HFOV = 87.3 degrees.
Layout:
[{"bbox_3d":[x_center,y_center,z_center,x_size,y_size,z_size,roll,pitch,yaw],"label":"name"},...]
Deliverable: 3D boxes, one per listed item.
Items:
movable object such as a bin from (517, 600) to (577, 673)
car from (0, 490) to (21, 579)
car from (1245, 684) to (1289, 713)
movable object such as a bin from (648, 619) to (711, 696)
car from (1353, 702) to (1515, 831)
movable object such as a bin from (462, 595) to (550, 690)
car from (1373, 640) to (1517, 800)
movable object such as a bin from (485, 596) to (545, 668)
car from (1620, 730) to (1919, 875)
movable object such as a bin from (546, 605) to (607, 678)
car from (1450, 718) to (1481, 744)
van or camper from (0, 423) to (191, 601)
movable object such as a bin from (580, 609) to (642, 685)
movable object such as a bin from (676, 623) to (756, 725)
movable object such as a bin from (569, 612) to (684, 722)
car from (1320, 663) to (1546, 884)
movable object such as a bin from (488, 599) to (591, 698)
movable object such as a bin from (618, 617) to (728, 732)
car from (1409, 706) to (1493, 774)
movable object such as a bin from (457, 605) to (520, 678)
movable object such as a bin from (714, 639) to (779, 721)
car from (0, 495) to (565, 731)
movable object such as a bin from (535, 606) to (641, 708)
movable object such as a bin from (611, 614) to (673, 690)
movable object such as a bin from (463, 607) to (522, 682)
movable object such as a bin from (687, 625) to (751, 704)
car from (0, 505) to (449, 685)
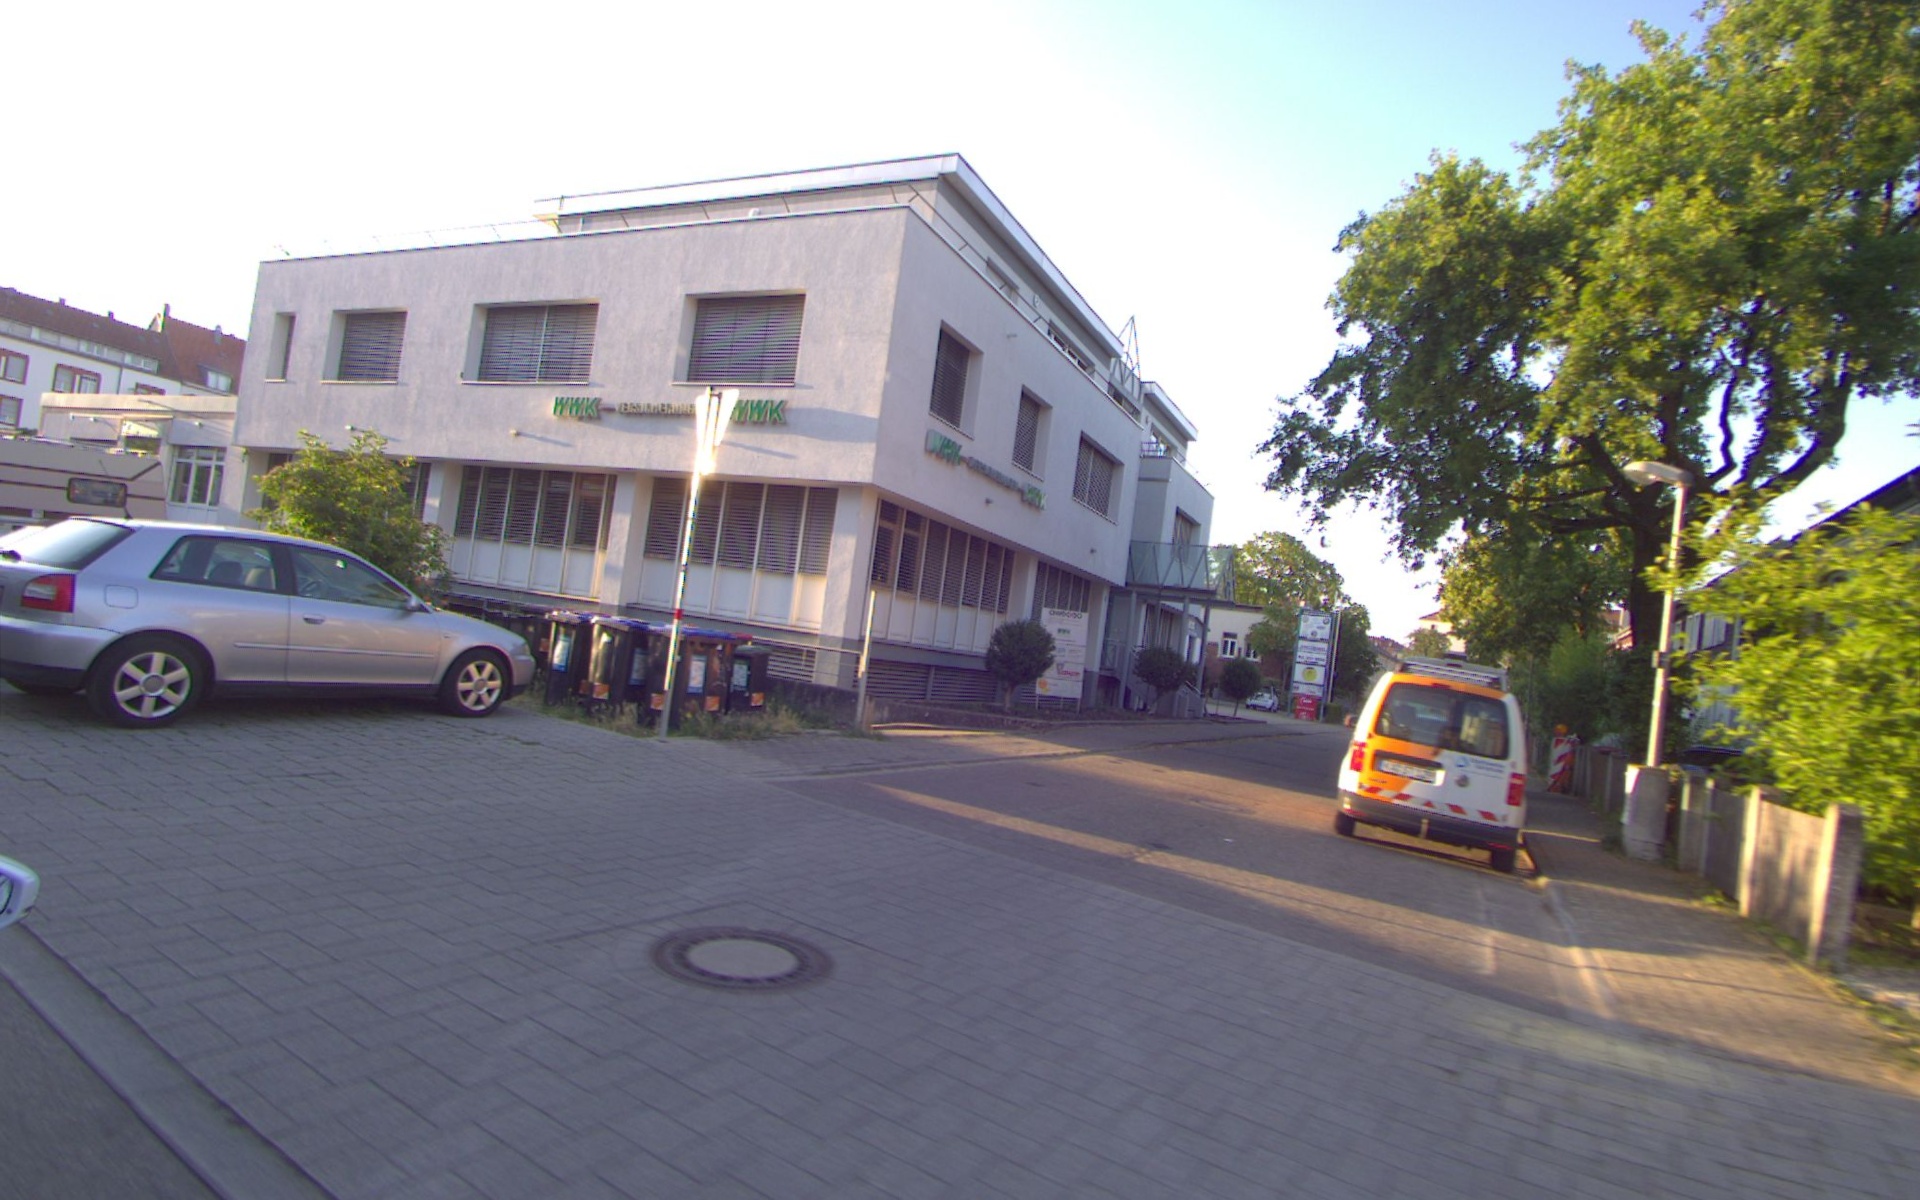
[{"bbox_3d":[-5.805,0.520,14.139,0.517,0.943,0.468,6,-1,29],"label":"movable object such as a bin"},{"bbox_3d":[-21.156,-1.581,19.249,1.936,1.761,4.245,6,-2,34],"label":"car"},{"bbox_3d":[18.784,6.038,61.443,1.923,1.471,3.610,7,-3,25],"label":"car"},{"bbox_3d":[-3.688,0.762,13.235,0.517,0.943,0.468,6,-1,29],"label":"movable object such as a bin"},{"bbox_3d":[7.502,2.532,16.015,1.923,1.472,3.610,8,-2,25],"label":"car"},{"bbox_3d":[-5.414,0.515,12.019,0.551,1.033,0.623,7,-2,22],"label":"movable object such as a bin"},{"bbox_3d":[9.901,2.417,20.694,2.060,2.588,4.755,8,-2,25],"label":"car"},{"bbox_3d":[-6.348,0.457,14.342,0.517,0.943,0.468,6,-1,29],"label":"movable object such as a bin"},{"bbox_3d":[12.573,3.057,15.703,3.549,1.472,1.956,6,-2,31],"label":"car"},{"bbox_3d":[-5.305,0.577,13.929,0.517,0.943,0.468,6,-1,29],"label":"movable object such as a bin"},{"bbox_3d":[38.103,9.833,75.886,1.777,1.573,3.610,8,-2,25],"label":"car"},{"bbox_3d":[-18.147,-1.798,18.391,2.444,2.897,5.794,6,-2,29],"label":"van or camper"},{"bbox_3d":[-4.741,0.640,13.657,0.517,0.943,0.468,6,-1,29],"label":"movable object such as a bin"},{"bbox_3d":[-2.672,0.815,11.055,0.438,1.033,0.645,7,-2,22],"label":"movable object such as a bin"},{"bbox_3d":[-3.496,0.712,10.586,0.698,1.033,0.759,7,-2,22],"label":"movable object such as a bin"},{"bbox_3d":[5.347,1.831,11.488,1.751,1.786,3.954,8,-2,25],"label":"car"},{"bbox_3d":[-4.879,0.573,11.697,0.698,1.033,0.707,7,-2,22],"label":"movable object such as a bin"},{"bbox_3d":[-2.892,0.755,10.187,0.698,1.033,0.645,7,-2,22],"label":"movable object such as a bin"},{"bbox_3d":[14.533,4.101,29.899,1.923,1.573,3.610,8,-2,25],"label":"car"},{"bbox_3d":[-6.057,0.538,12.942,0.389,0.867,0.501,7,-2,25],"label":"movable object such as a bin"},{"bbox_3d":[-2.673,1.003,12.596,0.517,0.943,0.468,6,-1,29],"label":"movable object such as a bin"},{"bbox_3d":[-5.651,0.156,8.358,1.863,1.424,4.065,7,-1,28],"label":"car"},{"bbox_3d":[-4.170,0.650,11.296,0.698,1.033,0.707,7,-2,22],"label":"movable object such as a bin"},{"bbox_3d":[-4.249,0.697,13.451,0.517,0.943,0.468,6,-1,29],"label":"movable object such as a bin"},{"bbox_3d":[-5.831,0.553,12.555,0.389,0.867,0.415,7,-2,25],"label":"movable object such as a bin"},{"bbox_3d":[-3.096,0.828,12.936,0.517,0.943,0.468,6,-1,29],"label":"movable object such as a bin"},{"bbox_3d":[-7.590,-0.006,9.740,1.864,1.349,4.326,6,-2,28],"label":"car"}]
